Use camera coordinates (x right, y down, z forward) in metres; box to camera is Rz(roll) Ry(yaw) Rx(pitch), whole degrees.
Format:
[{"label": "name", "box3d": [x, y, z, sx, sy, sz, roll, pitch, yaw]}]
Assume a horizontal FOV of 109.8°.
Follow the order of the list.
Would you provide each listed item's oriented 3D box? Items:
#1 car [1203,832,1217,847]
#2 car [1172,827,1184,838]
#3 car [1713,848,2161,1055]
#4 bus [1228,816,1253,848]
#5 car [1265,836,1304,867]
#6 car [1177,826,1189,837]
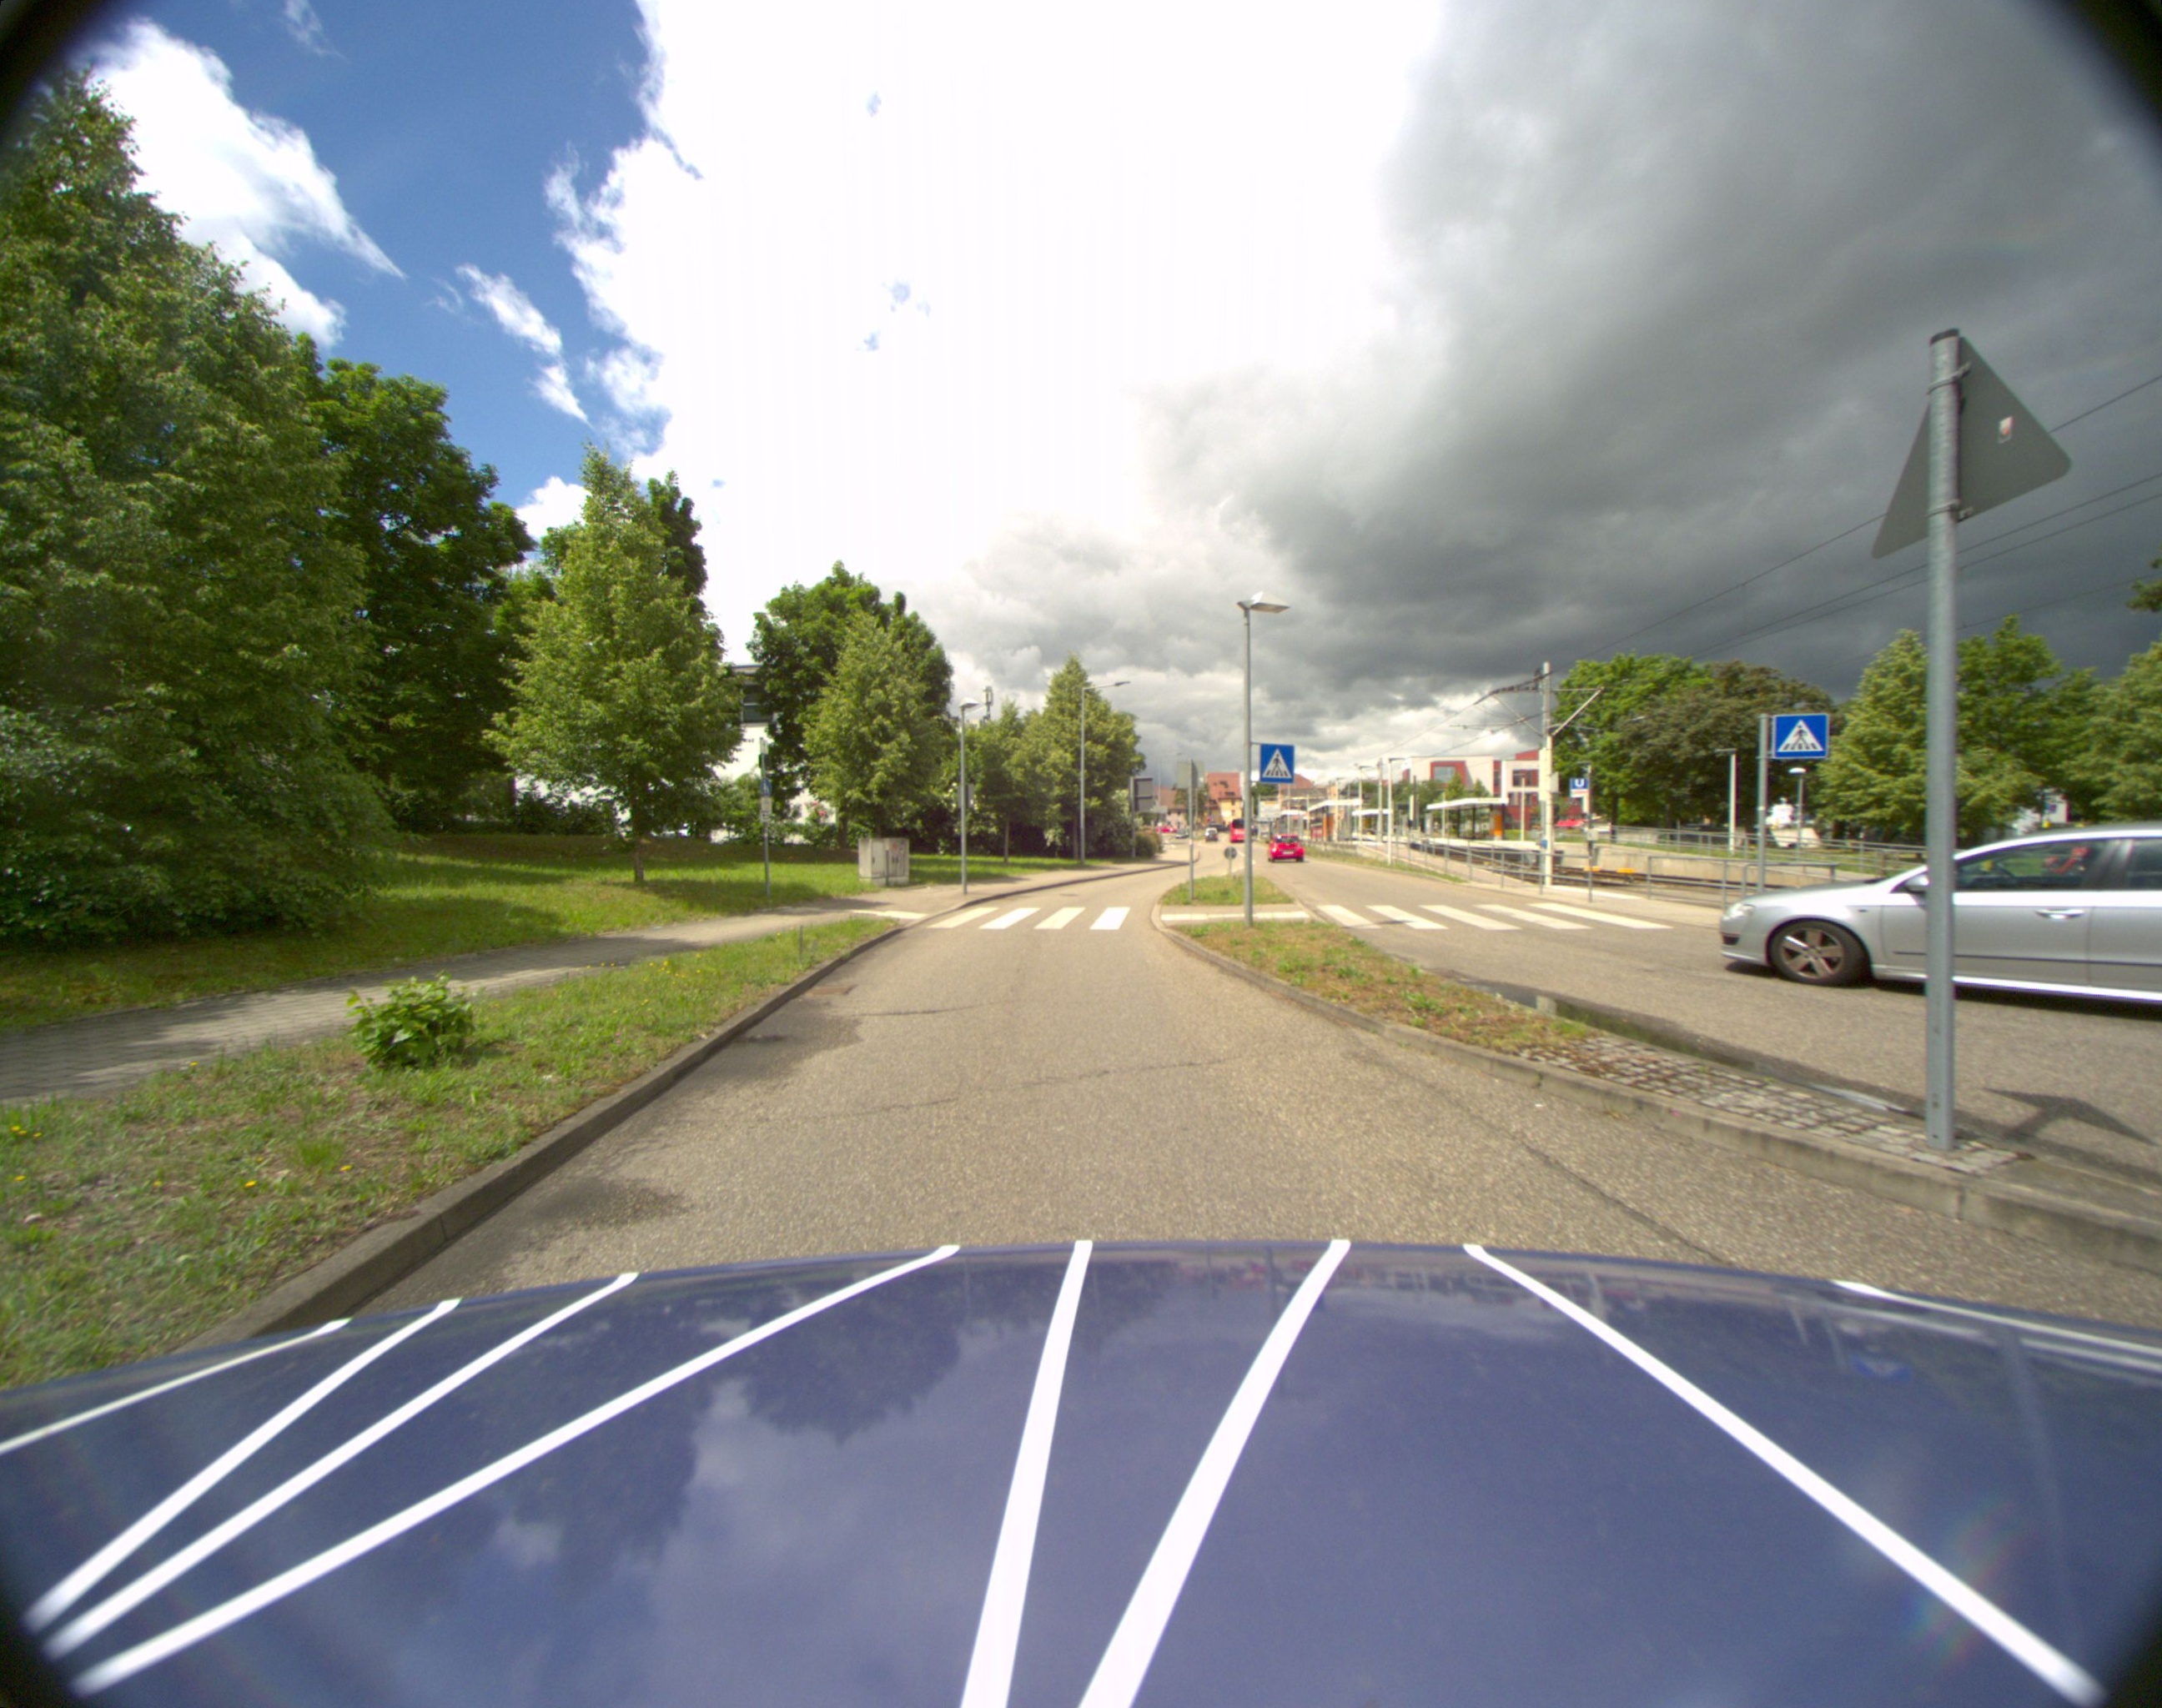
[{"label": "car", "box3d": [17.825, -1.993, 104.765, 1.849, 1.916, 3.779, 0, 1, 10]}, {"label": "car", "box3d": [17.282, -3.864, 134.780, 1.997, 1.849, 4.002, 0, 1, 9]}, {"label": "car", "box3d": [8.273, 0.679, 6.012, 1.944, 1.374, 4.650, -3, 2, -29]}, {"label": "bus", "box3d": [20.350, -2.778, 97.286, 2.921, 3.864, 10.386, 0, 1, 11]}, {"label": "car", "box3d": [10.865, -0.153, 40.690, 1.737, 1.501, 3.516, -1, 2, 10]}, {"label": "car", "box3d": [18.800, -4.115, 139.725, 1.997, 1.849, 4.002, 0, 1, 9]}]
